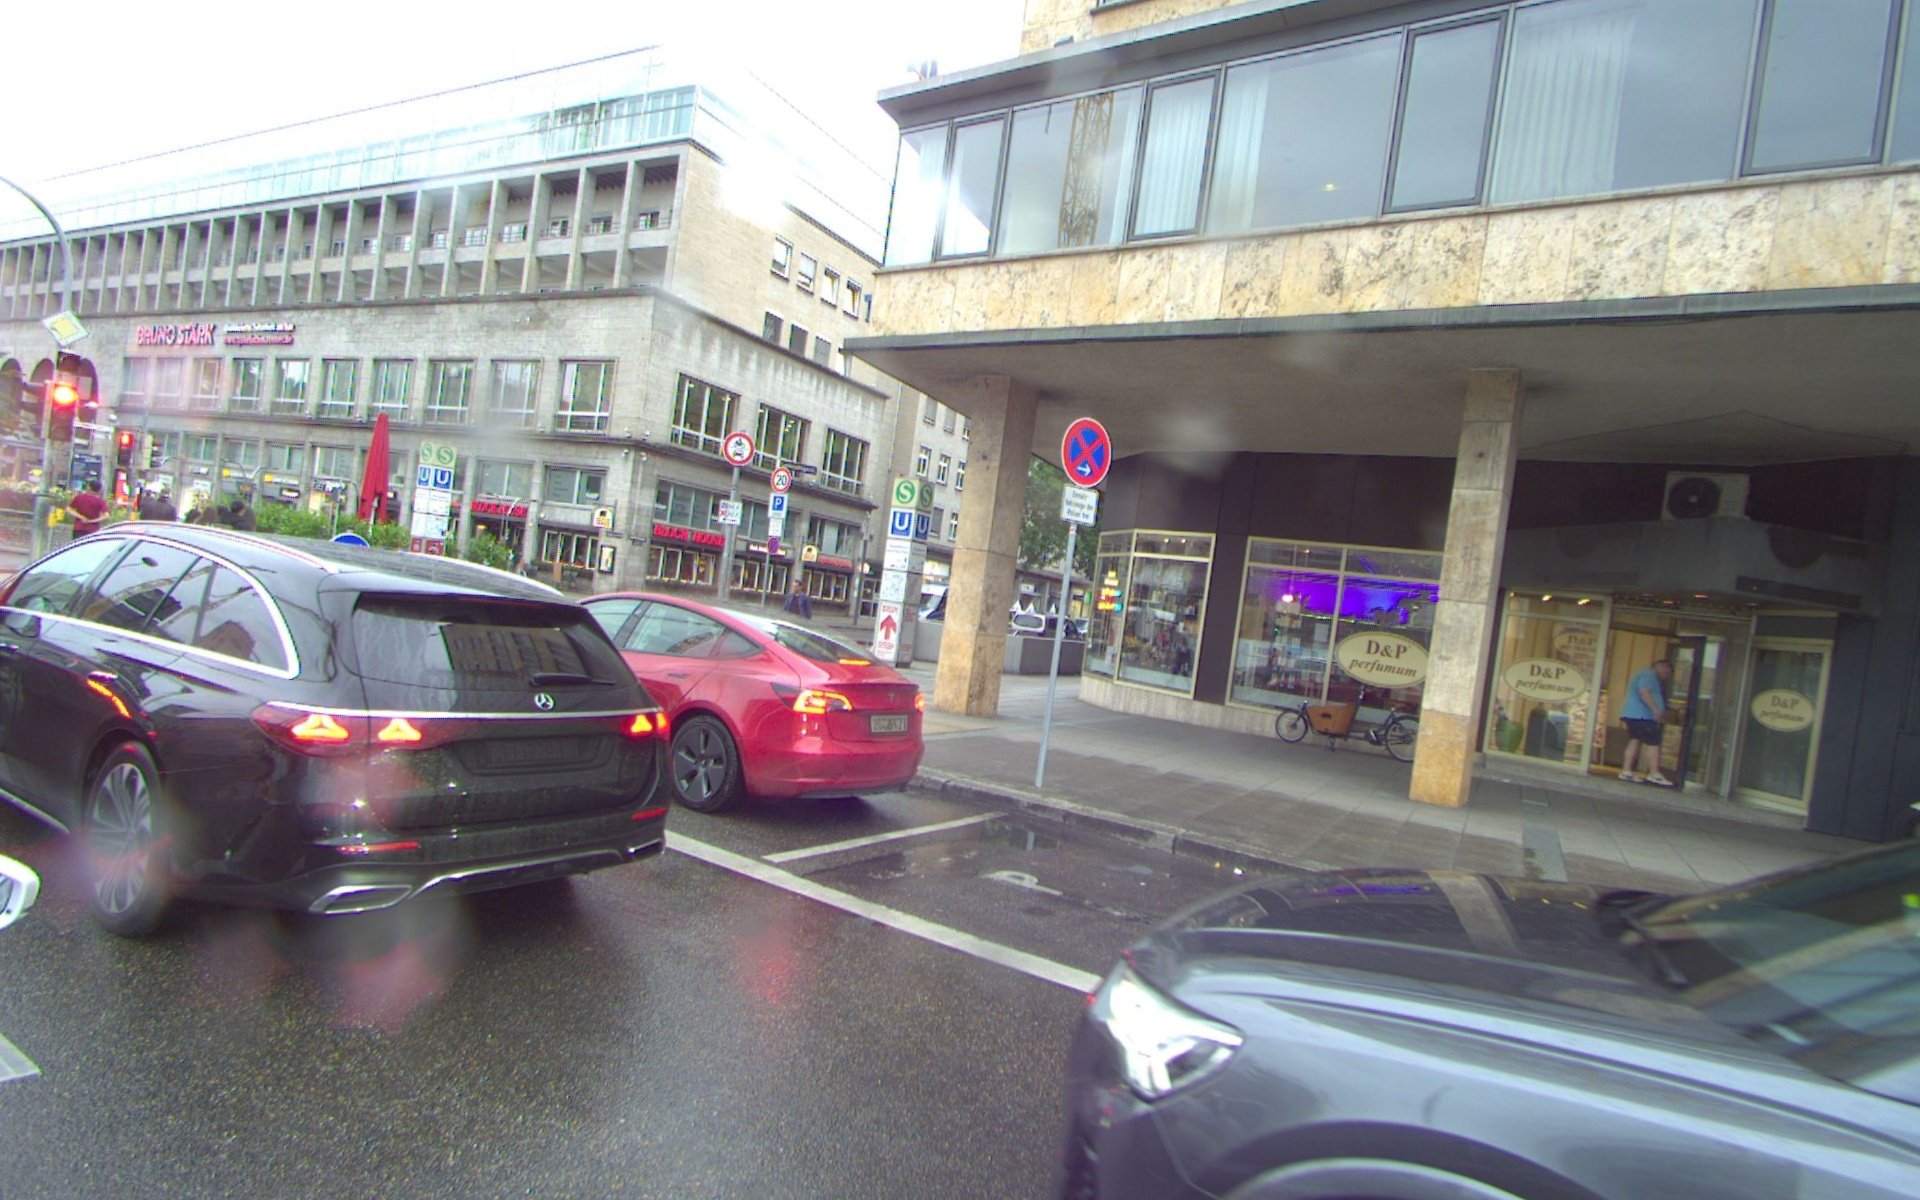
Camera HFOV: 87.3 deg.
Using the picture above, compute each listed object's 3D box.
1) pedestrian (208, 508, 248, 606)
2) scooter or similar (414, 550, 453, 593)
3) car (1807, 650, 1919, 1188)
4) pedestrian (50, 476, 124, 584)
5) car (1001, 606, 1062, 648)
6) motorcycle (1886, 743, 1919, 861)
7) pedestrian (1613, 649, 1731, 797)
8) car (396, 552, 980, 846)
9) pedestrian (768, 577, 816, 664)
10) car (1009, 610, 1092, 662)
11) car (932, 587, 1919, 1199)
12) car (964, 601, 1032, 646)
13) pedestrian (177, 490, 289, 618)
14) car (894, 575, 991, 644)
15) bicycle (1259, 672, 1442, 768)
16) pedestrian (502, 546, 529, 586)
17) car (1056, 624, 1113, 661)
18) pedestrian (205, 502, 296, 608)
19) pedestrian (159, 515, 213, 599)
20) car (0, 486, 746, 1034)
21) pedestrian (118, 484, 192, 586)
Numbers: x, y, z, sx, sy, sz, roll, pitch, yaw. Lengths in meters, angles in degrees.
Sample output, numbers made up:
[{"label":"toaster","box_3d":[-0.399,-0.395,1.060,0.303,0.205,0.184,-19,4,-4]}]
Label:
[{"label":"pedestrian","box_3d":[-13.737,-0.811,18.877,0.479,1.774,0.659,4,2,-38]},{"label":"scooter or similar","box_3d":[-16.362,-0.872,31.263,1.000,1.203,0.291,7,-1,13]},{"label":"car","box_3d":[5.969,1.418,3.000,4.853,1.942,1.878,6,-2,31]},{"label":"pedestrian","box_3d":[-15.230,-1.204,17.570,0.561,1.772,0.678,7,-1,-15]},{"label":"car","box_3d":[4.523,1.730,63.373,1.966,2.065,4.483,7,-2,29]},{"label":"motorcycle","box_3d":[11.146,2.274,10.483,2.074,1.232,0.567,6,-2,40]},{"label":"pedestrian","box_3d":[9.724,1.662,13.738,1.119,1.811,0.798,6,-1,39]},{"label":"car","box_3d":[-2.300,0.647,8.134,4.451,1.503,1.878,6,-2,31]},{"label":"pedestrian","box_3d":[-3.621,0.439,21.700,0.768,1.777,0.503,8,-1,-15]},{"label":"car","box_3d":[4.285,1.711,46.857,1.966,1.995,4.638,7,-1,29]},{"label":"car","box_3d":[2.275,1.025,1.551,4.271,1.519,1.882,6,-2,32]},{"label":"car","box_3d":[2.253,1.385,58.443,1.966,2.065,4.557,7,-2,29]},{"label":"pedestrian","box_3d":[-10.866,-0.663,15.062,0.642,1.774,1.097,7,2,29]},{"label":"car","box_3d":[-0.779,0.567,51.468,1.965,2.792,6.186,7,-2,27]},{"label":"bicycle","box_3d":[5.920,1.802,15.347,2.431,1.058,0.657,6,-1,32]},{"label":"pedestrian","box_3d":[-18.119,-1.385,40.989,0.748,1.530,0.714,8,-1,-16]},{"label":"car","box_3d":[8.734,3.003,70.270,1.966,2.065,4.832,7,-2,30]},{"label":"pedestrian","box_3d":[-12.047,-0.759,17.089,0.884,1.645,0.795,7,-1,28]},{"label":"pedestrian","box_3d":[-14.264,-0.785,18.552,0.627,1.444,0.485,8,-1,-36]},{"label":"car","box_3d":[-3.429,0.393,4.919,4.552,1.519,1.797,6,-2,32]},{"label":"pedestrian","box_3d":[-14.708,-1.179,18.388,0.458,1.737,0.757,7,-1,28]}]
